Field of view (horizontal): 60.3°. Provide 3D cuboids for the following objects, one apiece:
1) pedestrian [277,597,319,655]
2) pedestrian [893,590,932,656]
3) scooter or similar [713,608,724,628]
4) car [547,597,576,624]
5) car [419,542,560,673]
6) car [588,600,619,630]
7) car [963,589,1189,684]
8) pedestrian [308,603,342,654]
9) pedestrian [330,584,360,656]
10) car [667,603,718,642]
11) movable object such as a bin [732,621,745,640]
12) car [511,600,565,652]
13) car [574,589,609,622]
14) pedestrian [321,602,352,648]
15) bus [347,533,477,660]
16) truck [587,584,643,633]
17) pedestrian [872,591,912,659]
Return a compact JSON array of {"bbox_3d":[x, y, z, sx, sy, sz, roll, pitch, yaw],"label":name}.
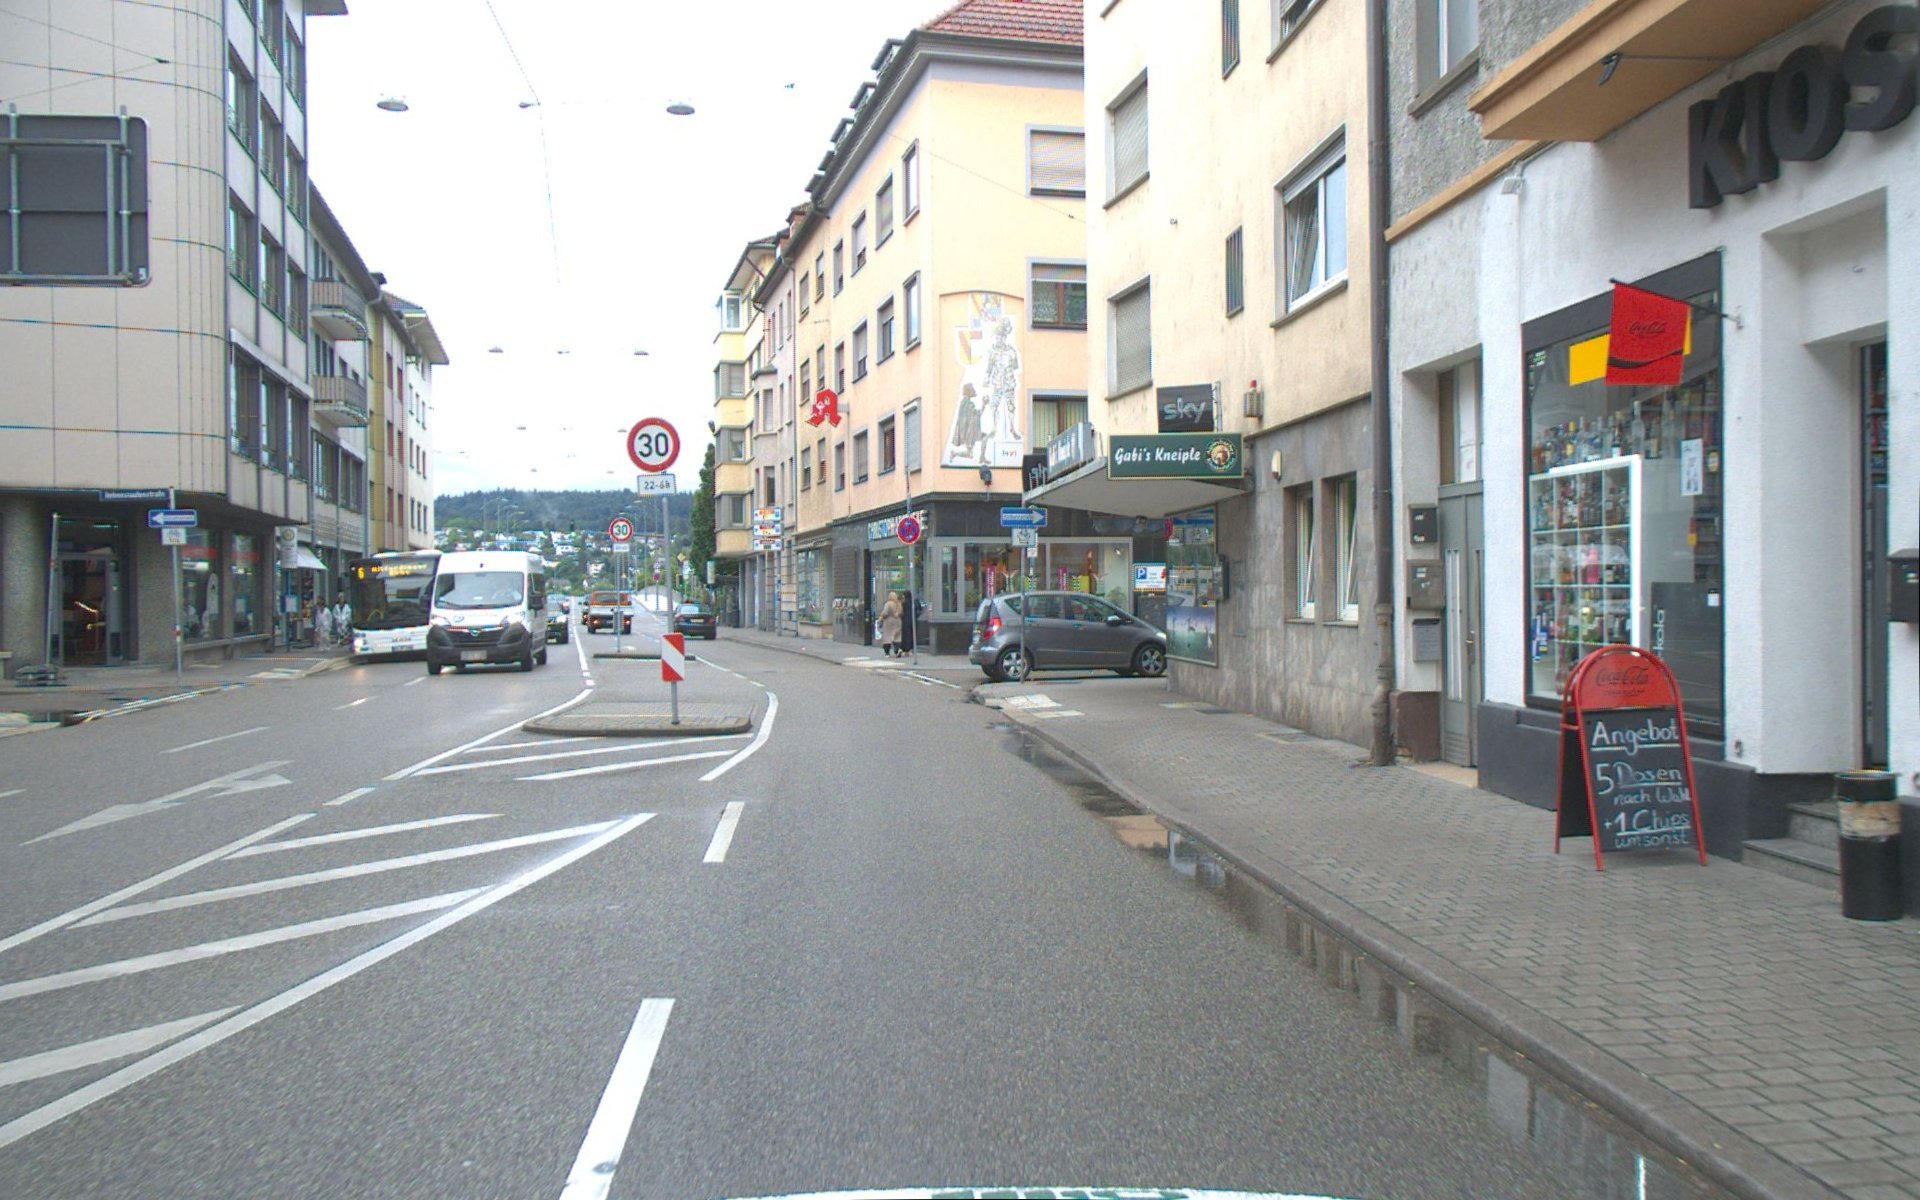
[{"bbox_3d":[-18.677,0.728,46.692,0.928,1.617,0.832,-1,-1,-11],"label":"pedestrian"},{"bbox_3d":[-1.156,0.556,40.338,0.755,1.587,0.873,-1,-1,-15],"label":"pedestrian"},{"bbox_3d":[-14.323,1.054,98.217,0.502,1.193,1.544,-1,-1,-13],"label":"scooter or similar"},{"bbox_3d":[-30.754,0.806,127.553,1.961,2.049,3.982,-1,-1,-16],"label":"car"},{"bbox_3d":[-9.833,0.167,35.081,2.047,2.478,6.339,-1,0,-9],"label":"car"},{"bbox_3d":[-21.105,0.874,97.814,1.724,1.680,3.986,-1,0,-13],"label":"car"},{"bbox_3d":[2.092,0.644,30.352,3.757,1.601,1.931,-1,-1,-11],"label":"car"},{"bbox_3d":[-18.072,0.800,47.090,0.754,1.420,0.784,-1,-1,-11],"label":"pedestrian"},{"bbox_3d":[-17.846,0.569,47.984,0.666,2.049,0.774,-1,-1,-11],"label":"pedestrian"},{"bbox_3d":[-10.729,0.906,66.080,1.724,1.505,3.986,1,-1,-13],"label":"car"},{"bbox_3d":[-11.481,1.580,85.838,0.590,0.942,0.702,-1,-1,-14],"label":"movable object such as a bin"},{"bbox_3d":[-14.813,0.884,58.062,1.714,1.691,4.401,-1,1,-14],"label":"car"},{"bbox_3d":[-24.055,0.373,107.914,1.961,2.049,3.982,-1,-1,-16],"label":"car"},{"bbox_3d":[-19.571,0.775,51.937,0.761,1.429,0.752,-1,-1,-11],"label":"pedestrian"},{"bbox_3d":[-15.476,-0.040,47.243,2.712,3.244,8.880,-1,0,-13],"label":"bus"},{"bbox_3d":[-16.189,0.413,77.404,2.359,2.167,5.295,-1,0,-14],"label":"truck"},{"bbox_3d":[-1.638,0.598,39.809,0.765,1.587,0.779,-1,-1,-15],"label":"pedestrian"}]
